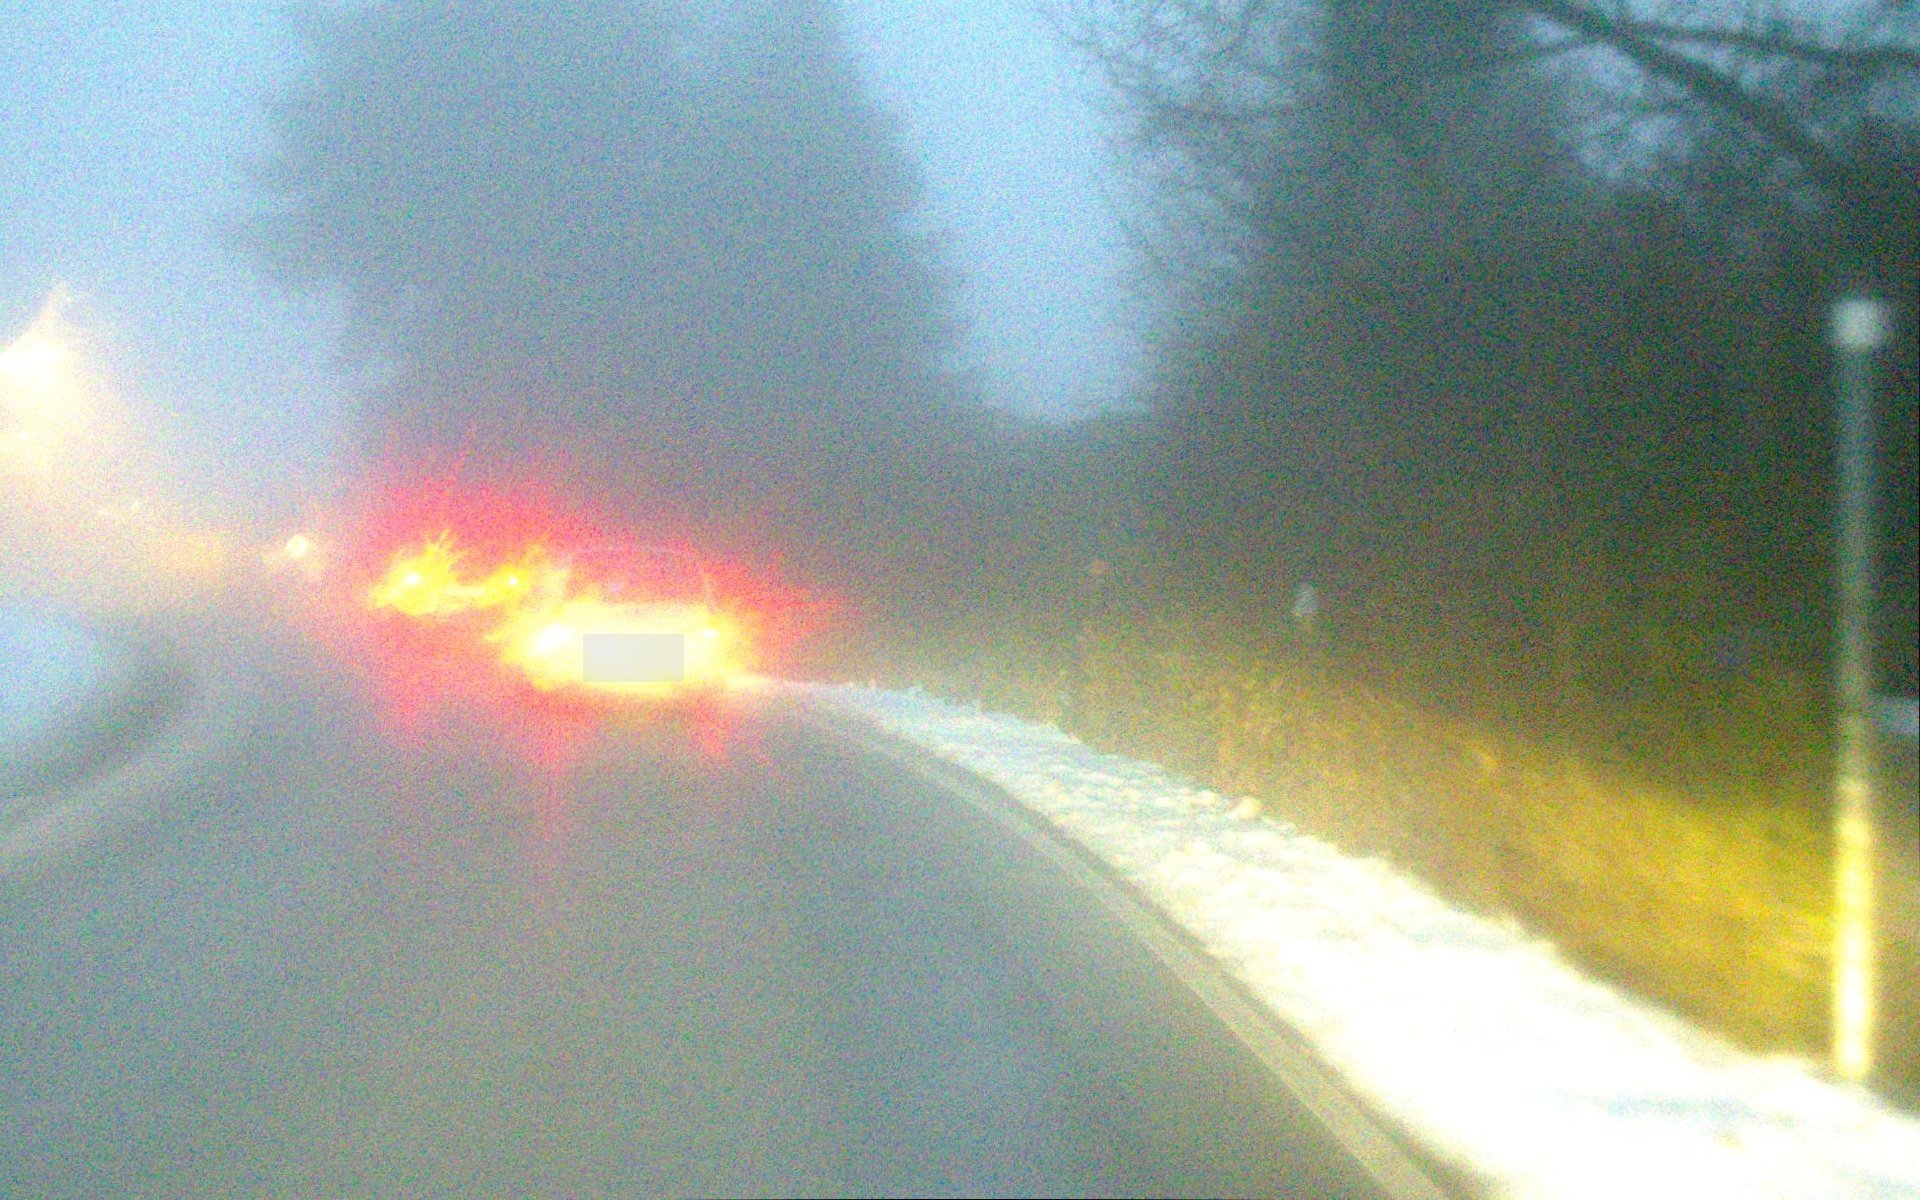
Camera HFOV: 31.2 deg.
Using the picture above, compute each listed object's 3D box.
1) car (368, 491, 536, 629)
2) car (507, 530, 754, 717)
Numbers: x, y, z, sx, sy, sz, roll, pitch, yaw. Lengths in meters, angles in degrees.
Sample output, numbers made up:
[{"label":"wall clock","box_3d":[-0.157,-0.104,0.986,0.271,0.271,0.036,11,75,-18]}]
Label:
[{"label":"car","box_3d":[-6.849,-0.520,46.033,1.993,1.744,4.001,1,0,-11]},{"label":"car","box_3d":[-2.918,0.188,30.223,1.993,1.503,4.001,1,0,-6]}]
